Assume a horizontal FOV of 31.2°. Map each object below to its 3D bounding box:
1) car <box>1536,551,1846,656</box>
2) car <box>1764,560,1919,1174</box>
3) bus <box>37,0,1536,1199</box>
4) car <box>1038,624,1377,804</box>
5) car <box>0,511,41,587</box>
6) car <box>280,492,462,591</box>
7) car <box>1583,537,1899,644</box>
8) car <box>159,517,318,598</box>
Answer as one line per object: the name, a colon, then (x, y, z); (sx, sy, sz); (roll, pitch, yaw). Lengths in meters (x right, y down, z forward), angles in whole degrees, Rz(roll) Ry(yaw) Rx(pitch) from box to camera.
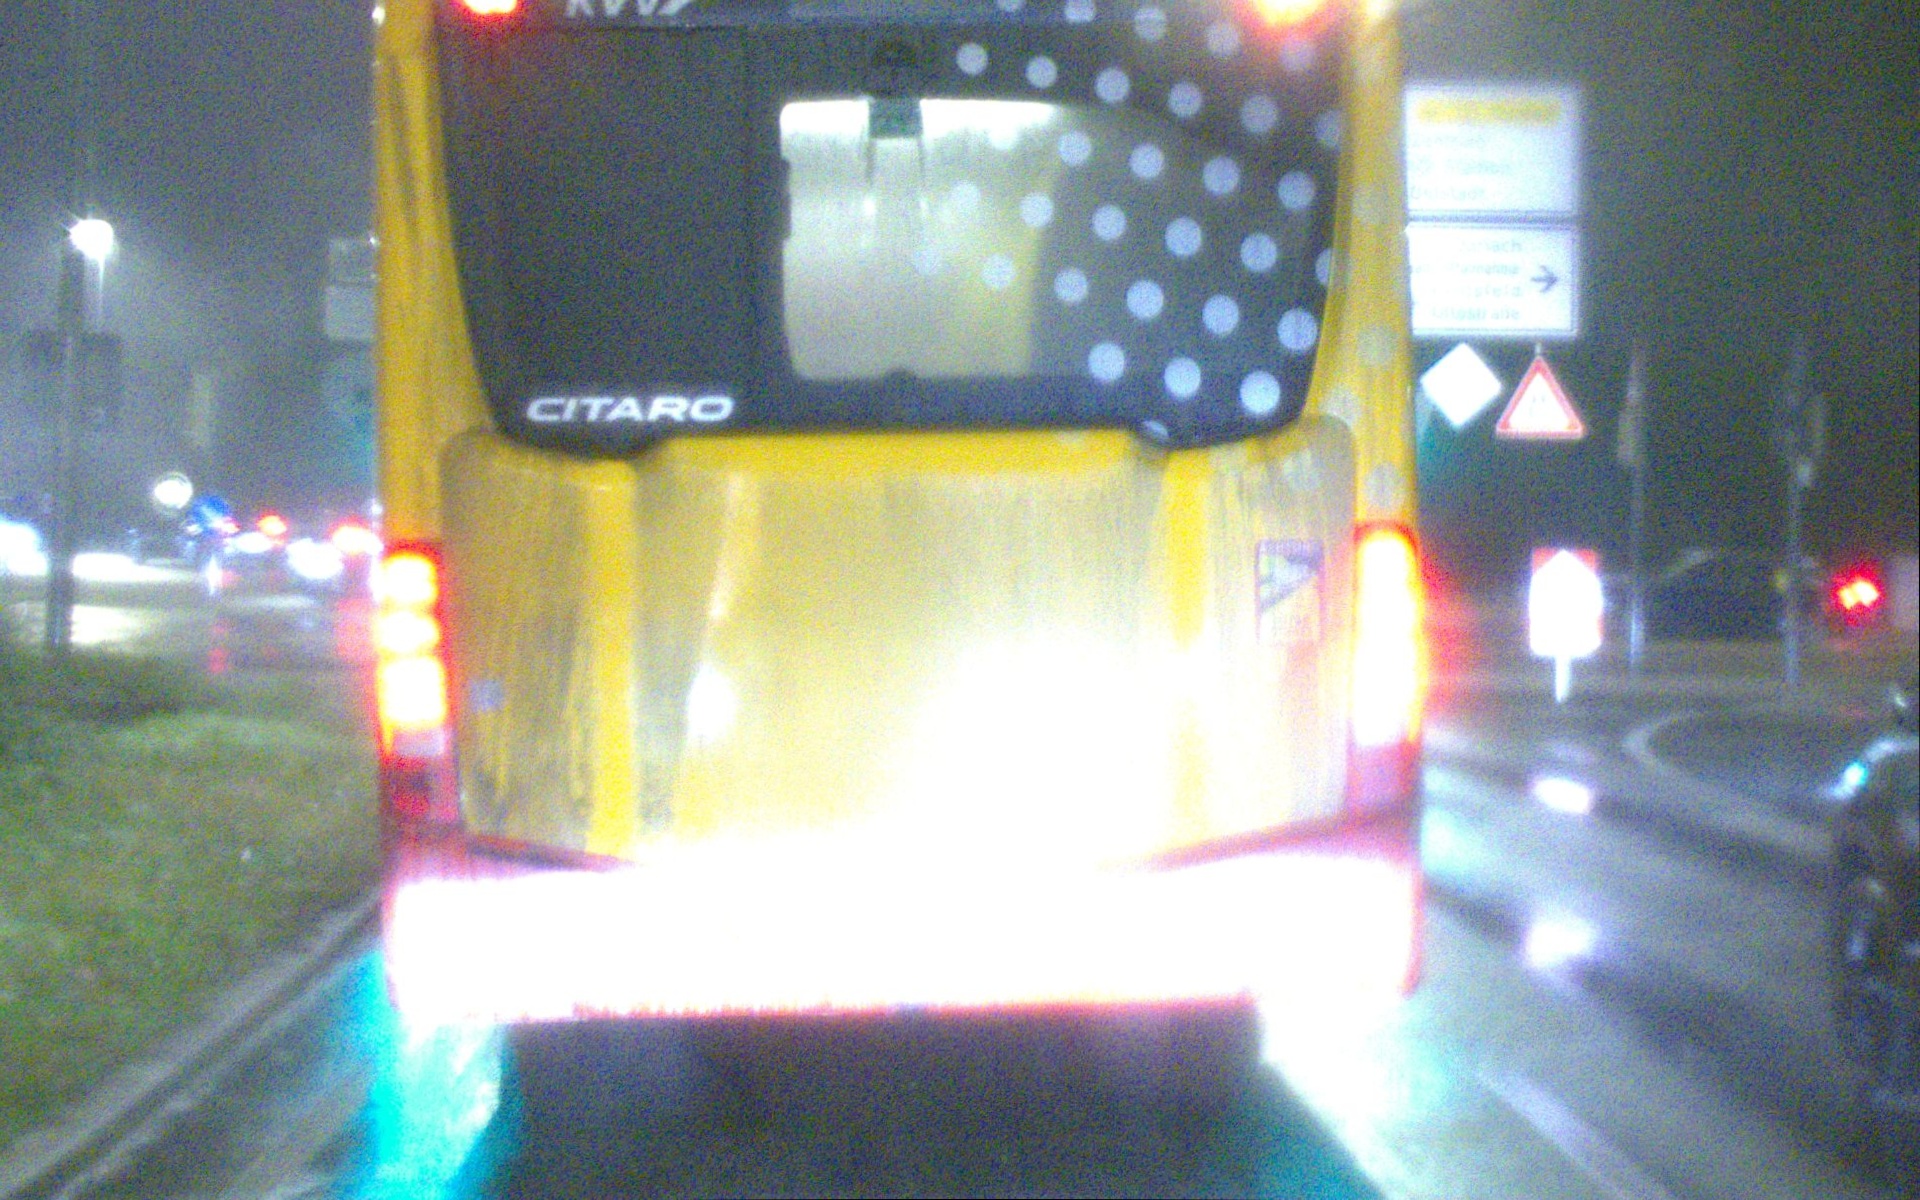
car: (10.649, 0.043, 50.257); (4.041, 1.341, 1.747); (2, 2, -6)
car: (3.234, 0.680, 8.044); (1.677, 1.516, 3.960); (1, 0, -1)
bus: (-0.675, -0.301, 12.334); (3.284, 3.040, 9.546); (0, 2, -4)
car: (1.932, 0.881, 28.056); (1.685, 1.326, 3.961); (1, 0, -12)
car: (-22.651, -1.228, 78.822); (2.089, 1.638, 3.730); (5, -1, -29)
car: (-10.226, -1.011, 59.461); (1.816, 1.612, 4.000); (1, 0, -29)
car: (12.376, -0.163, 54.651); (4.482, 1.513, 1.857); (2, 2, -6)
car: (-15.073, -0.896, 71.664); (1.816, 1.612, 4.000); (1, 0, -34)
